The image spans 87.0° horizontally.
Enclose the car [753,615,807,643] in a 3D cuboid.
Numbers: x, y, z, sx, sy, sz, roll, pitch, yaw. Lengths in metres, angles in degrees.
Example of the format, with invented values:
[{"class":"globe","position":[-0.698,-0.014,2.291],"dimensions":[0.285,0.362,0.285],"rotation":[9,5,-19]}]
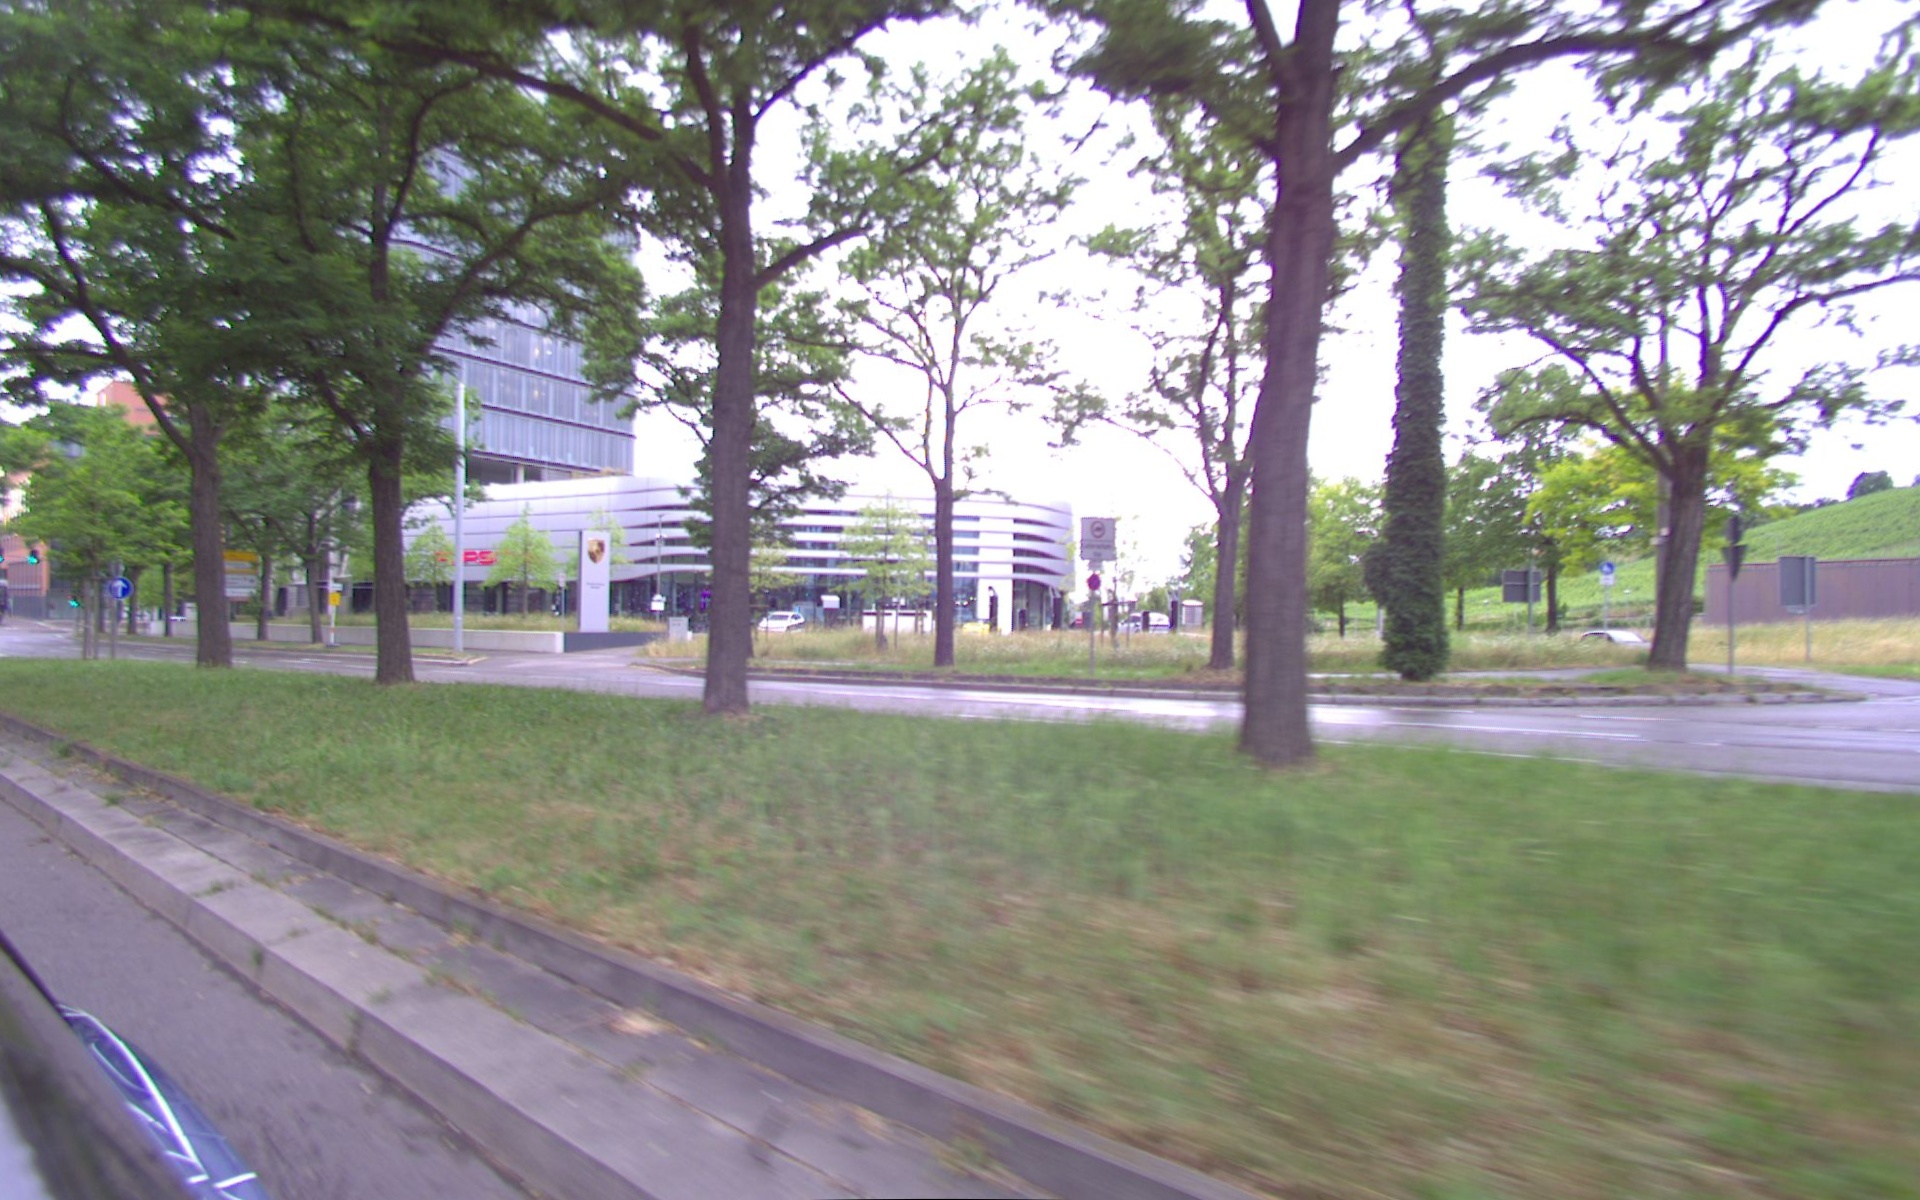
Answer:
[{"class":"car","position":[-10.455,1.695,59.131],"dimensions":[1.760,1.423,3.985],"rotation":[-1,1,12]}]

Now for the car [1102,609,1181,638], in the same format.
[{"class":"car","position":[8.834,1.109,49.571],"dimensions":[1.592,1.254,4.012],"rotation":[-2,1,-30]}]

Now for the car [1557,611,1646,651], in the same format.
[{"class":"car","position":[30.573,1.446,48.382],"dimensions":[1.975,1.674,3.994],"rotation":[-1,1,6]}]

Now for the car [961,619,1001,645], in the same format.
[{"class":"car","position":[1.322,1.922,61.697],"dimensions":[1.605,1.333,3.982],"rotation":[-1,1,14]}]
